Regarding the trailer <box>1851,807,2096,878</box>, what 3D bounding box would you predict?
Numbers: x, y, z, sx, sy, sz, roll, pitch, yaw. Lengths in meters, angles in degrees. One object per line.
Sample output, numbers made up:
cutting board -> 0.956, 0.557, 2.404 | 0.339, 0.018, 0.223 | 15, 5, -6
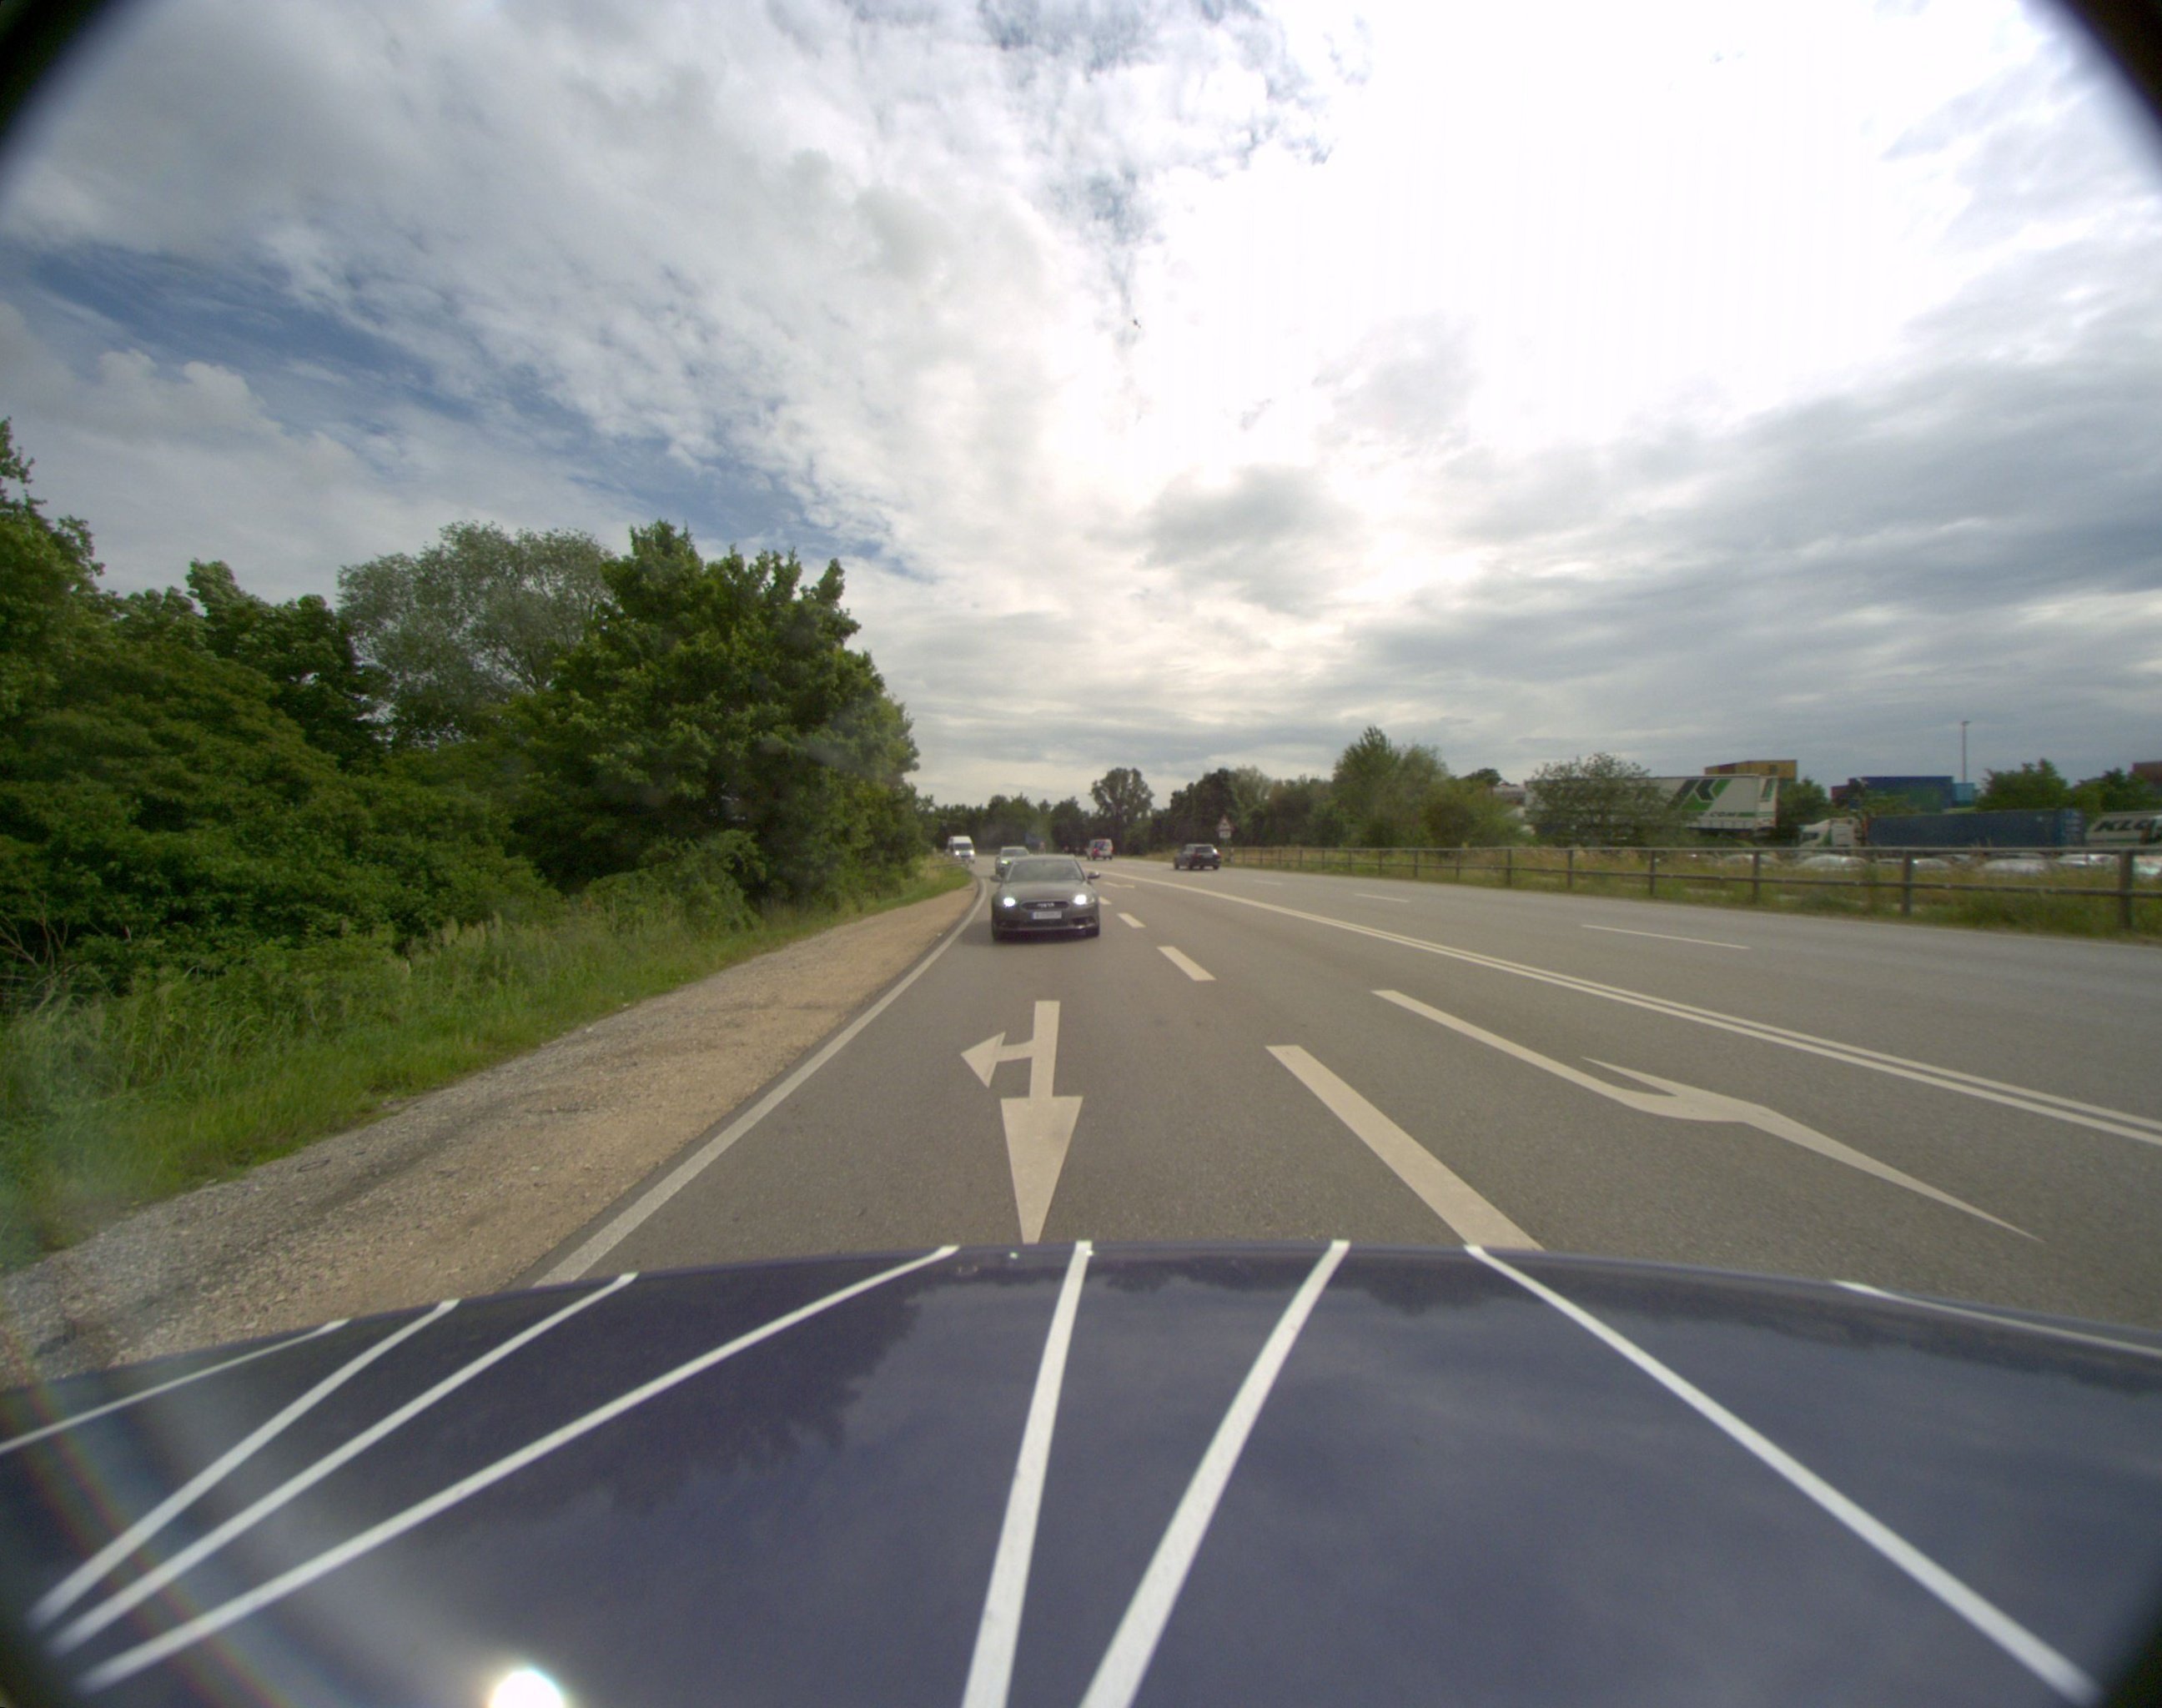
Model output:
trailer -> 59.986, -0.736, 51.678 | 3.244, 4.268, 10.388 | -2, 1, -16

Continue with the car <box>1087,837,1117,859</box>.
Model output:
car -> 2.030, -0.615, 74.336 | 2.000, 2.002, 4.662 | -2, 1, -9

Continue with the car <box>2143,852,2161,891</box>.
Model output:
car -> 51.341, 0.757, 34.901 | 4.003, 1.709, 1.841 | -2, 1, -17

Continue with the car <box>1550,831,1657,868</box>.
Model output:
car -> 29.030, -0.251, 42.379 | 4.536, 1.865, 2.002 | -2, 1, 20

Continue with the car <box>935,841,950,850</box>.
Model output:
car -> -24.686, -1.485, 135.326 | 1.737, 1.509, 3.992 | -3, 2, -21

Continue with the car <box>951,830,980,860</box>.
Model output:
car -> -11.575, -0.855, 75.782 | 2.221, 2.654, 5.234 | -4, 0, -13

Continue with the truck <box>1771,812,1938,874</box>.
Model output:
truck -> 58.240, -0.824, 57.597 | 3.244, 4.268, 8.306 | -2, 1, -16

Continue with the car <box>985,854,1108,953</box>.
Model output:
car -> -0.653, 0.812, 14.466 | 1.958, 1.527, 3.998 | -2, 1, -3

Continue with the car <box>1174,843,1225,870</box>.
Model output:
car -> 6.820, 0.124, 44.214 | 1.814, 1.433, 4.350 | -2, 1, -6

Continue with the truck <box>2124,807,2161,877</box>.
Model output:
truck -> 67.493, -0.791, 45.966 | 4.841, 4.268, 2.203 | -1, 2, 43

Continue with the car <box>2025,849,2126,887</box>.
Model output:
car -> 50.474, 0.668, 38.585 | 4.003, 1.709, 1.841 | -2, 1, -17

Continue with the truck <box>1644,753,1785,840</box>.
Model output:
truck -> 39.443, -3.448, 47.525 | 2.808, 4.968, 6.175 | -3, 2, -30

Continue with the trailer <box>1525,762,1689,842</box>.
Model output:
trailer -> 36.287, -3.443, 52.910 | 2.811, 4.968, 8.962 | -3, 2, -30

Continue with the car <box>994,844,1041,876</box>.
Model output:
car -> -3.553, 0.309, 41.945 | 2.022, 1.604, 4.275 | -2, 1, -12
